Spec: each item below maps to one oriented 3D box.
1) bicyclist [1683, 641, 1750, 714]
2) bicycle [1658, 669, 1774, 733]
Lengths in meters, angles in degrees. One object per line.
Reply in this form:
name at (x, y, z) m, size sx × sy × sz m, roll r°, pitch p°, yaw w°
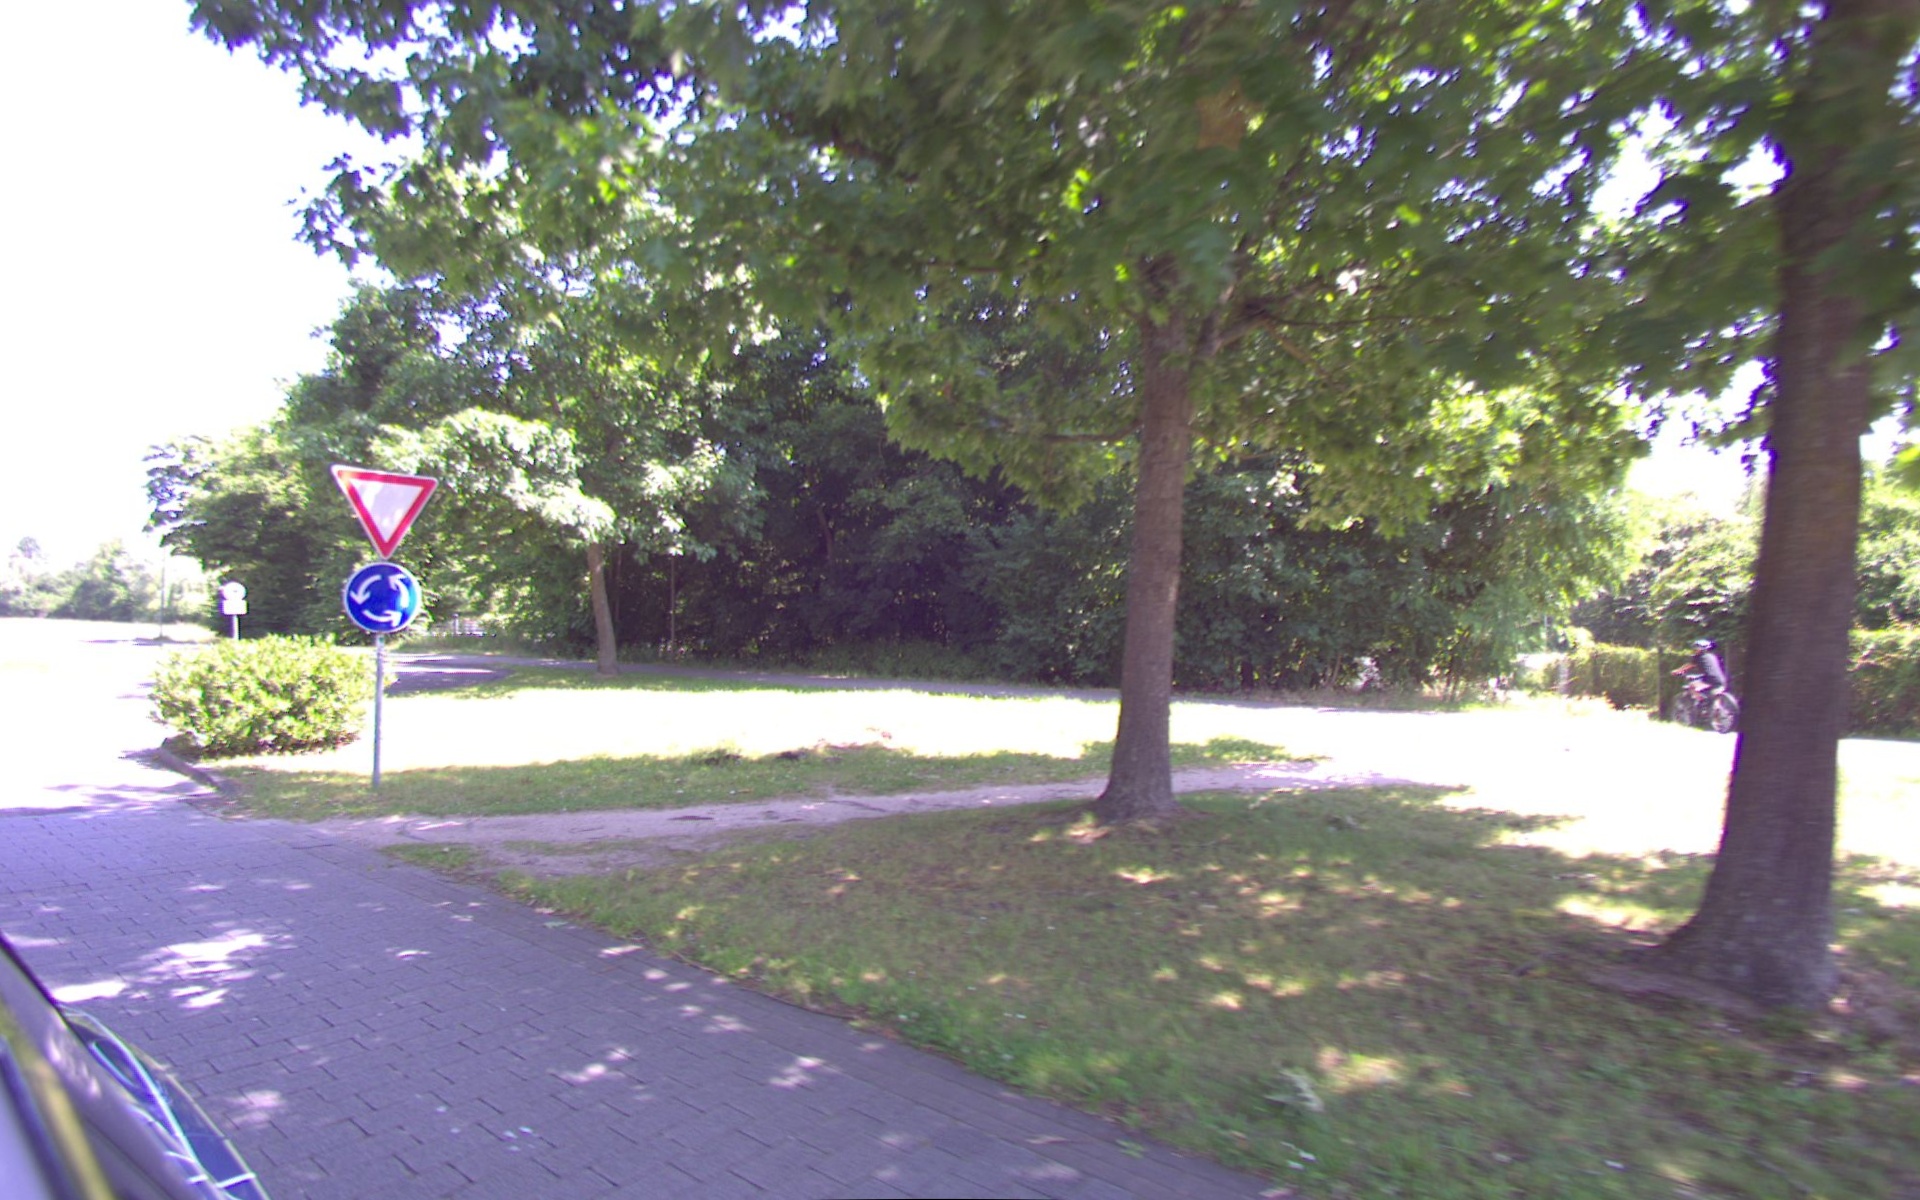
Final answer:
bicyclist at (12.514, 1.268, 16.755) m, size 0.590 × 1.173 × 0.649 m, roll 1°, pitch -1°, yaw -6°
bicycle at (12.500, 1.647, 16.796) m, size 0.590 × 0.936 × 1.622 m, roll 1°, pitch -1°, yaw -6°
